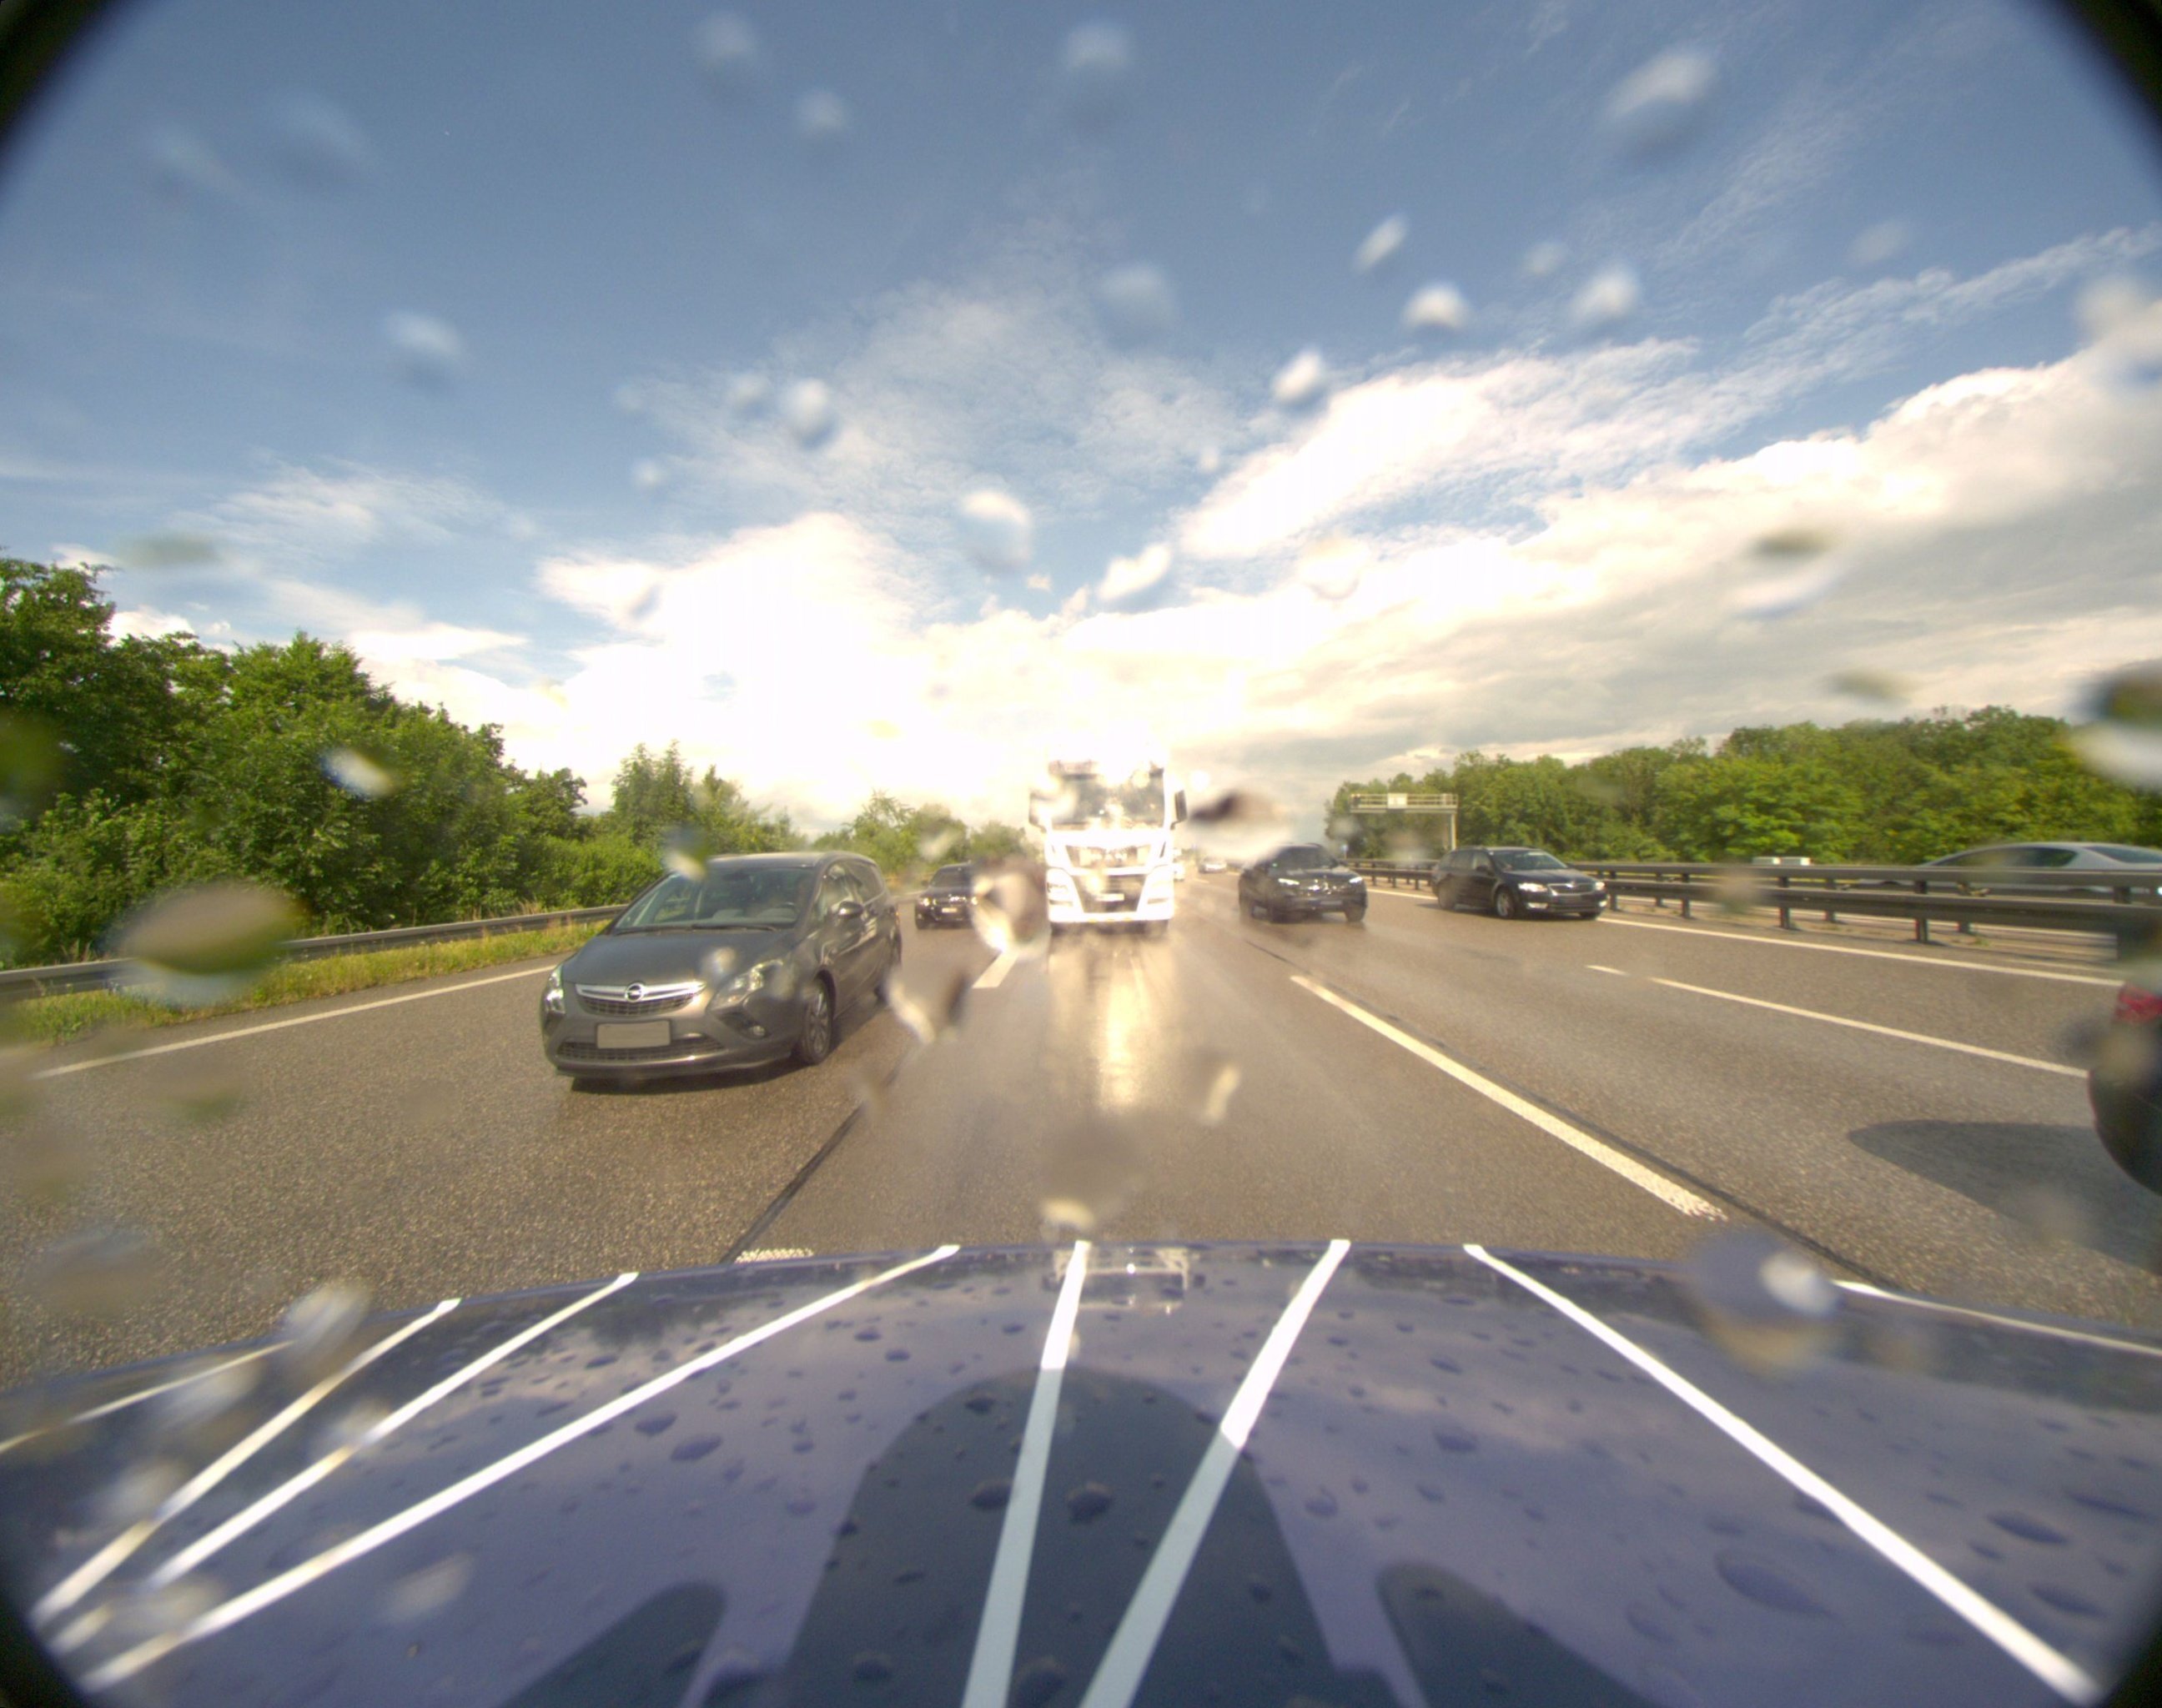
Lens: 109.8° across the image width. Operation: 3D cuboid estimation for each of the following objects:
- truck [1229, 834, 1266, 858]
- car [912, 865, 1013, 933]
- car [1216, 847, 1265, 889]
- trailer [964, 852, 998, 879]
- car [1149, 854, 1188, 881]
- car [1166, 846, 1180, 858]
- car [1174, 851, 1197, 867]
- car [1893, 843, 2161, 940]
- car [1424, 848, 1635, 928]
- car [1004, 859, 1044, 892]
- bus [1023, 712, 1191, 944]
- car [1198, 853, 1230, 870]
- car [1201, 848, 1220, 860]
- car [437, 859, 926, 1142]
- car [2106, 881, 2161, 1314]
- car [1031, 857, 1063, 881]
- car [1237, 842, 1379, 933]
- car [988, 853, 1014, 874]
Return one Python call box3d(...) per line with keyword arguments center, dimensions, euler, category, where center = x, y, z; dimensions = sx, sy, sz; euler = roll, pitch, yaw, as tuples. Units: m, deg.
box3d(center=(21.984, -1.016, 100.683), dimensions=(2.923, 2.970, 8.721), euler=(-2, 1, 0), category="truck")
box3d(center=(-2.709, 0.993, 18.157), dimensions=(1.722, 1.346, 3.884), euler=(-2, 0, 1), category="car")
box3d(center=(6.453, 0.550, 30.921), dimensions=(1.409, 1.588, 2.830), euler=(-2, 0, 1), category="car")
box3d(center=(-6.887, 0.764, 52.620), dimensions=(1.810, 1.736, 3.966), euler=(-3, 0, -2), category="trailer")
box3d(center=(4.902, 0.745, 43.039), dimensions=(1.809, 1.389, 4.240), euler=(-1, 0, 1), category="car")
box3d(center=(20.005, -0.416, 165.239), dimensions=(2.119, 2.382, 6.102), euler=(-2, 0, 0), category="car")
box3d(center=(9.857, 0.487, 72.011), dimensions=(1.618, 1.412, 4.000), euler=(-2, 0, 1), category="car")
box3d(center=(16.419, 0.524, 12.258), dimensions=(1.872, 1.346, 4.493), euler=(-2, 0, 1), category="car")
box3d(center=(9.177, 0.614, 16.064), dimensions=(1.925, 1.416, 4.372), euler=(-2, 0, 1), category="car")
box3d(center=(-2.634, 0.960, 35.809), dimensions=(1.744, 1.357, 3.999), euler=(-2, 0, -3), category="car")
box3d(center=(0.541, -0.485, 18.711), dimensions=(2.904, 4.104, 9.845), euler=(-2, 0, 1), category="bus")
box3d(center=(9.856, 0.561, 56.631), dimensions=(1.857, 1.182, 3.583), euler=(-2, 0, 2), category="car")
box3d(center=(18.424, 0.040, 108.193), dimensions=(1.770, 1.633, 4.246), euler=(-2, 0, -2), category="car")
box3d(center=(-2.899, 0.905, 6.965), dimensions=(1.858, 1.622, 4.736), euler=(-2, 0, 1), category="car")
box3d(center=(4.362, 0.789, 0.577), dimensions=(1.754, 1.425, 4.054), euler=(-2, 0, 2), category="car")
box3d(center=(-2.183, 0.939, 49.623), dimensions=(1.858, 1.434, 3.999), euler=(-2, 0, -1), category="car")
box3d(center=(4.745, 0.621, 16.611), dimensions=(1.881, 1.669, 4.627), euler=(-2, 0, 3), category="car")
box3d(center=(-6.137, 0.707, 58.735), dimensions=(1.616, 1.480, 3.480), euler=(-2, 0, -1), category="car")
